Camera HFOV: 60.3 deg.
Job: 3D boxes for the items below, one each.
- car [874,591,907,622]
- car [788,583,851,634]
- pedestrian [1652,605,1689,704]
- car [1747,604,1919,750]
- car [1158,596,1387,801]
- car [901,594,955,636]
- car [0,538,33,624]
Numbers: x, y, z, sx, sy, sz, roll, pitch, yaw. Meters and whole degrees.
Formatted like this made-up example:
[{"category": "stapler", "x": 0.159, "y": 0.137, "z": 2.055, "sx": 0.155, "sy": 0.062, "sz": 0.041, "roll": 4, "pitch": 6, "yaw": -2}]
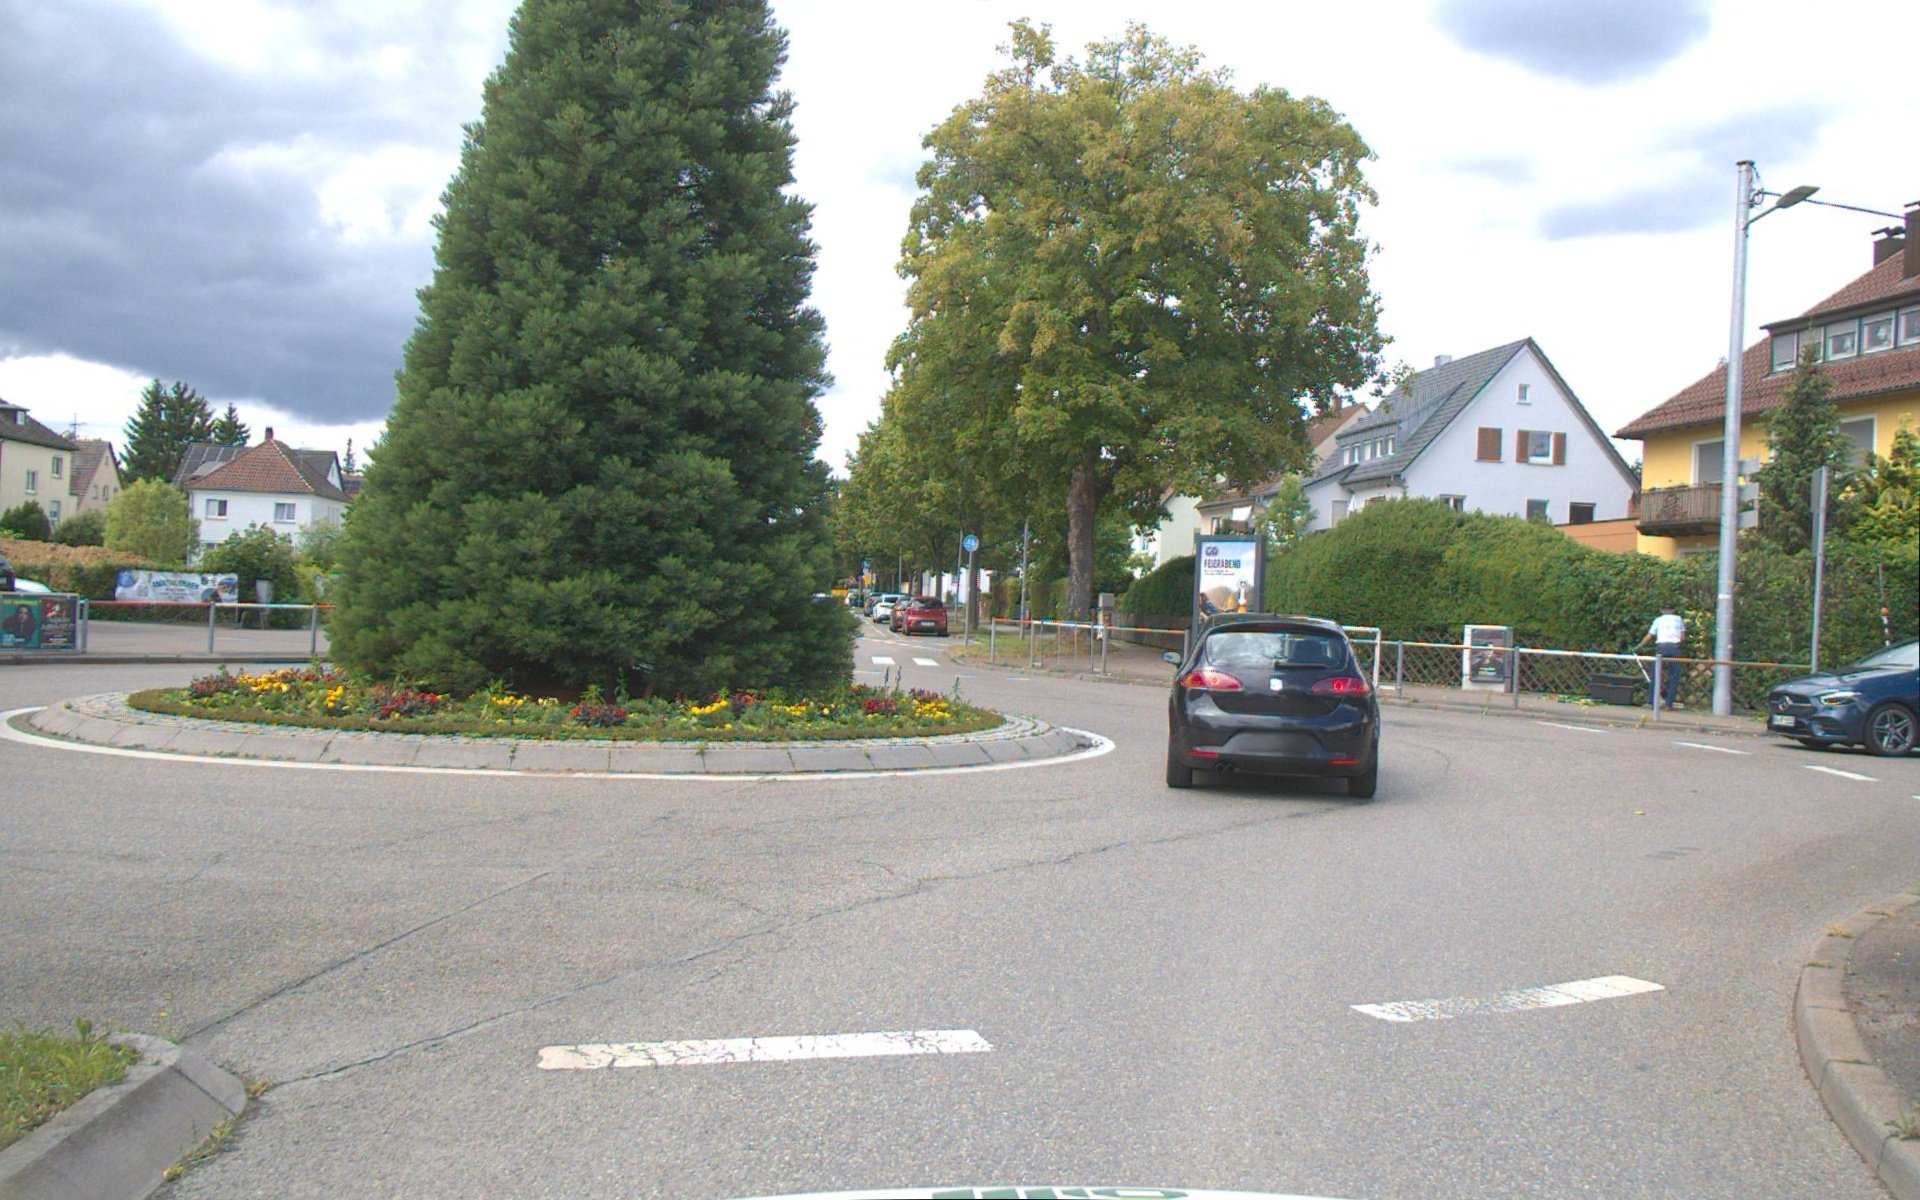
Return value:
[{"category": "car", "x": -3.573, "y": 0.329, "z": 84.884, "sx": 1.563, "sy": 1.536, "sz": 3.597, "roll": 1, "pitch": 0, "yaw": -4}, {"category": "car", "x": -4.927, "y": 0.289, "z": 57.666, "sx": 1.956, "sy": 1.641, "sz": 3.993, "roll": 2, "pitch": 0, "yaw": -7}, {"category": "pedestrian", "x": 11.442, "y": 0.872, "z": 26.645, "sx": 0.480, "sy": 1.560, "sz": 0.485, "roll": 2, "pitch": 0, "yaw": 20}, {"category": "car", "x": 12.449, "y": 1.002, "z": 20.774, "sx": 4.309, "sy": 1.690, "sz": 1.649, "roll": 3, "pitch": 0, "yaw": -2}, {"category": "car", "x": 2.797, "y": 0.752, "z": 14.709, "sx": 1.695, "sy": 1.512, "sz": 4.003, "roll": 1, "pitch": 0, "yaw": 12}, {"category": "car", "x": -1.266, "y": 0.552, "z": 63.501, "sx": 1.449, "sy": 1.515, "sz": 3.372, "roll": 2, "pitch": 0, "yaw": -12}, {"category": "car", "x": -20.164, "y": -0.408, "z": 32.012, "sx": 3.514, "sy": 1.639, "sz": 1.600, "roll": 1, "pitch": 0, "yaw": 1}]
